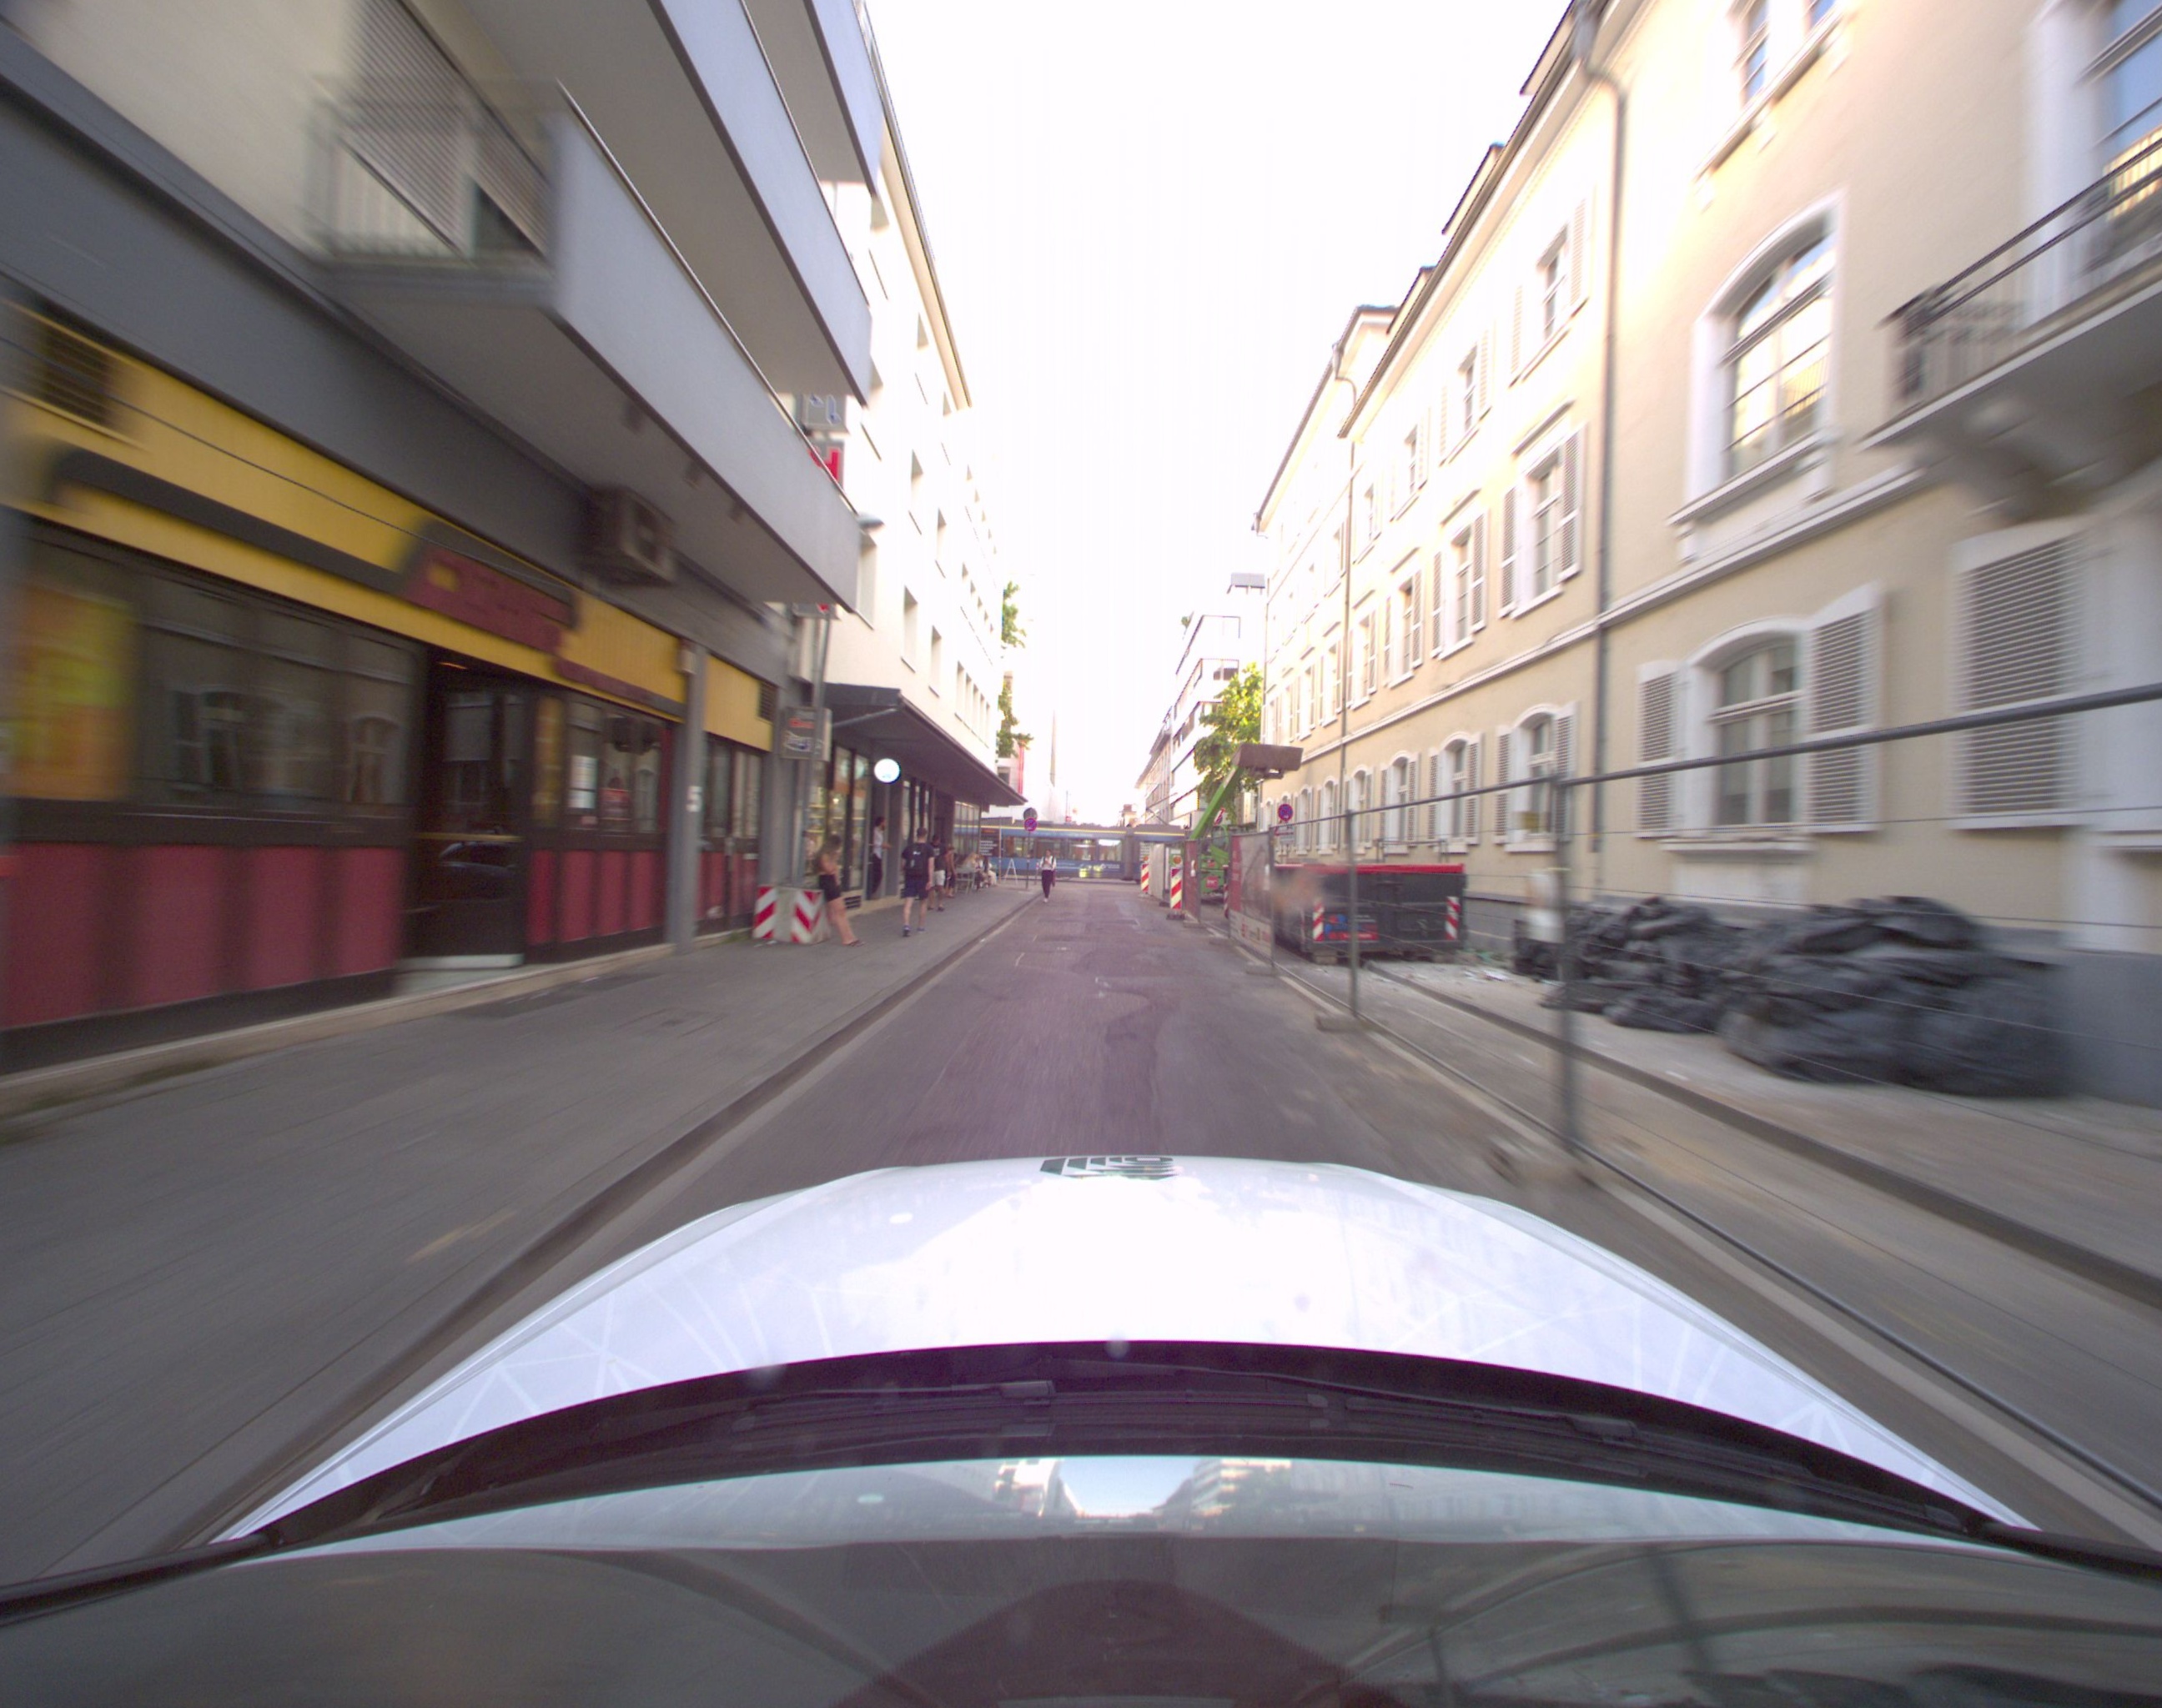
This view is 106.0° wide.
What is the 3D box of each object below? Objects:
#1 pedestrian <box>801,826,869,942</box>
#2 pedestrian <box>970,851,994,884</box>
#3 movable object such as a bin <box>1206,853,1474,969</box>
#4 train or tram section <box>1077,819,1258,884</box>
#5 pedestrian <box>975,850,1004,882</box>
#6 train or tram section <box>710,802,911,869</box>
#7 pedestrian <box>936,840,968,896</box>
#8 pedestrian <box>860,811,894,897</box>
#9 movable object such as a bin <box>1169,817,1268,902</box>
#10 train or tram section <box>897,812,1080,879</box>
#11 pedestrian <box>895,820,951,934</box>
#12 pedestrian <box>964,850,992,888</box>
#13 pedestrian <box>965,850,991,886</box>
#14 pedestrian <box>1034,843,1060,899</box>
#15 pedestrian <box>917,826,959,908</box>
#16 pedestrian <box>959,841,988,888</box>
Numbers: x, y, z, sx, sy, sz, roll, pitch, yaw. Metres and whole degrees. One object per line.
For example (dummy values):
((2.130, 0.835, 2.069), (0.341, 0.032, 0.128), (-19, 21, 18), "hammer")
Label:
((-3.508, 0.424, 11.672), (0.707, 1.578, 0.612), (4, -1, -3), "pedestrian")
((-3.725, 0.506, 30.739), (0.701, 1.195, 0.692), (5, 0, 4), "pedestrian")
((4.482, 0.861, 15.980), (2.882, 1.664, 7.292), (1, 0, -1), "movable object such as a bin")
((5.000, -0.127, 48.266), (10.303, 3.524, 3.026), (1, -1, 0), "train or tram section")
((-3.611, 0.481, 32.036), (0.697, 1.219, 0.847), (2, 0, 38), "pedestrian")
((-15.842, -1.048, 48.236), (10.772, 3.524, 3.013), (2, -1, 0), "train or tram section")
((-3.735, 0.391, 23.589), (0.660, 1.569, 0.633), (4, 0, -25), "pedestrian")
((-4.403, -0.006, 17.566), (0.542, 1.810, 0.613), (1, 0, 0), "pedestrian")
((4.984, 0.181, 30.568), (2.628, 2.872, 5.562), (1, 0, -1), "movable object such as a bin")
((-5.312, -0.466, 48.217), (10.333, 3.524, 3.017), (2, -1, 0), "train or tram section")
((-2.608, 0.369, 13.545), (0.712, 1.810, 0.933), (1, 0, 1), "pedestrian")
((-3.653, 0.516, 28.808), (0.707, 1.286, 0.854), (3, 0, -23), "pedestrian")
((-3.770, 0.496, 29.874), (0.701, 1.239, 0.778), (5, 0, 4), "pedestrian")
((-1.064, 0.542, 25.850), (0.753, 1.739, 0.785), (0, 0, 2), "pedestrian")
((-3.252, 0.290, 18.628), (0.701, 1.782, 0.933), (3, 0, 0), "pedestrian")
((-3.670, 0.363, 27.807), (0.700, 1.547, 0.863), (2, 0, 8), "pedestrian")
